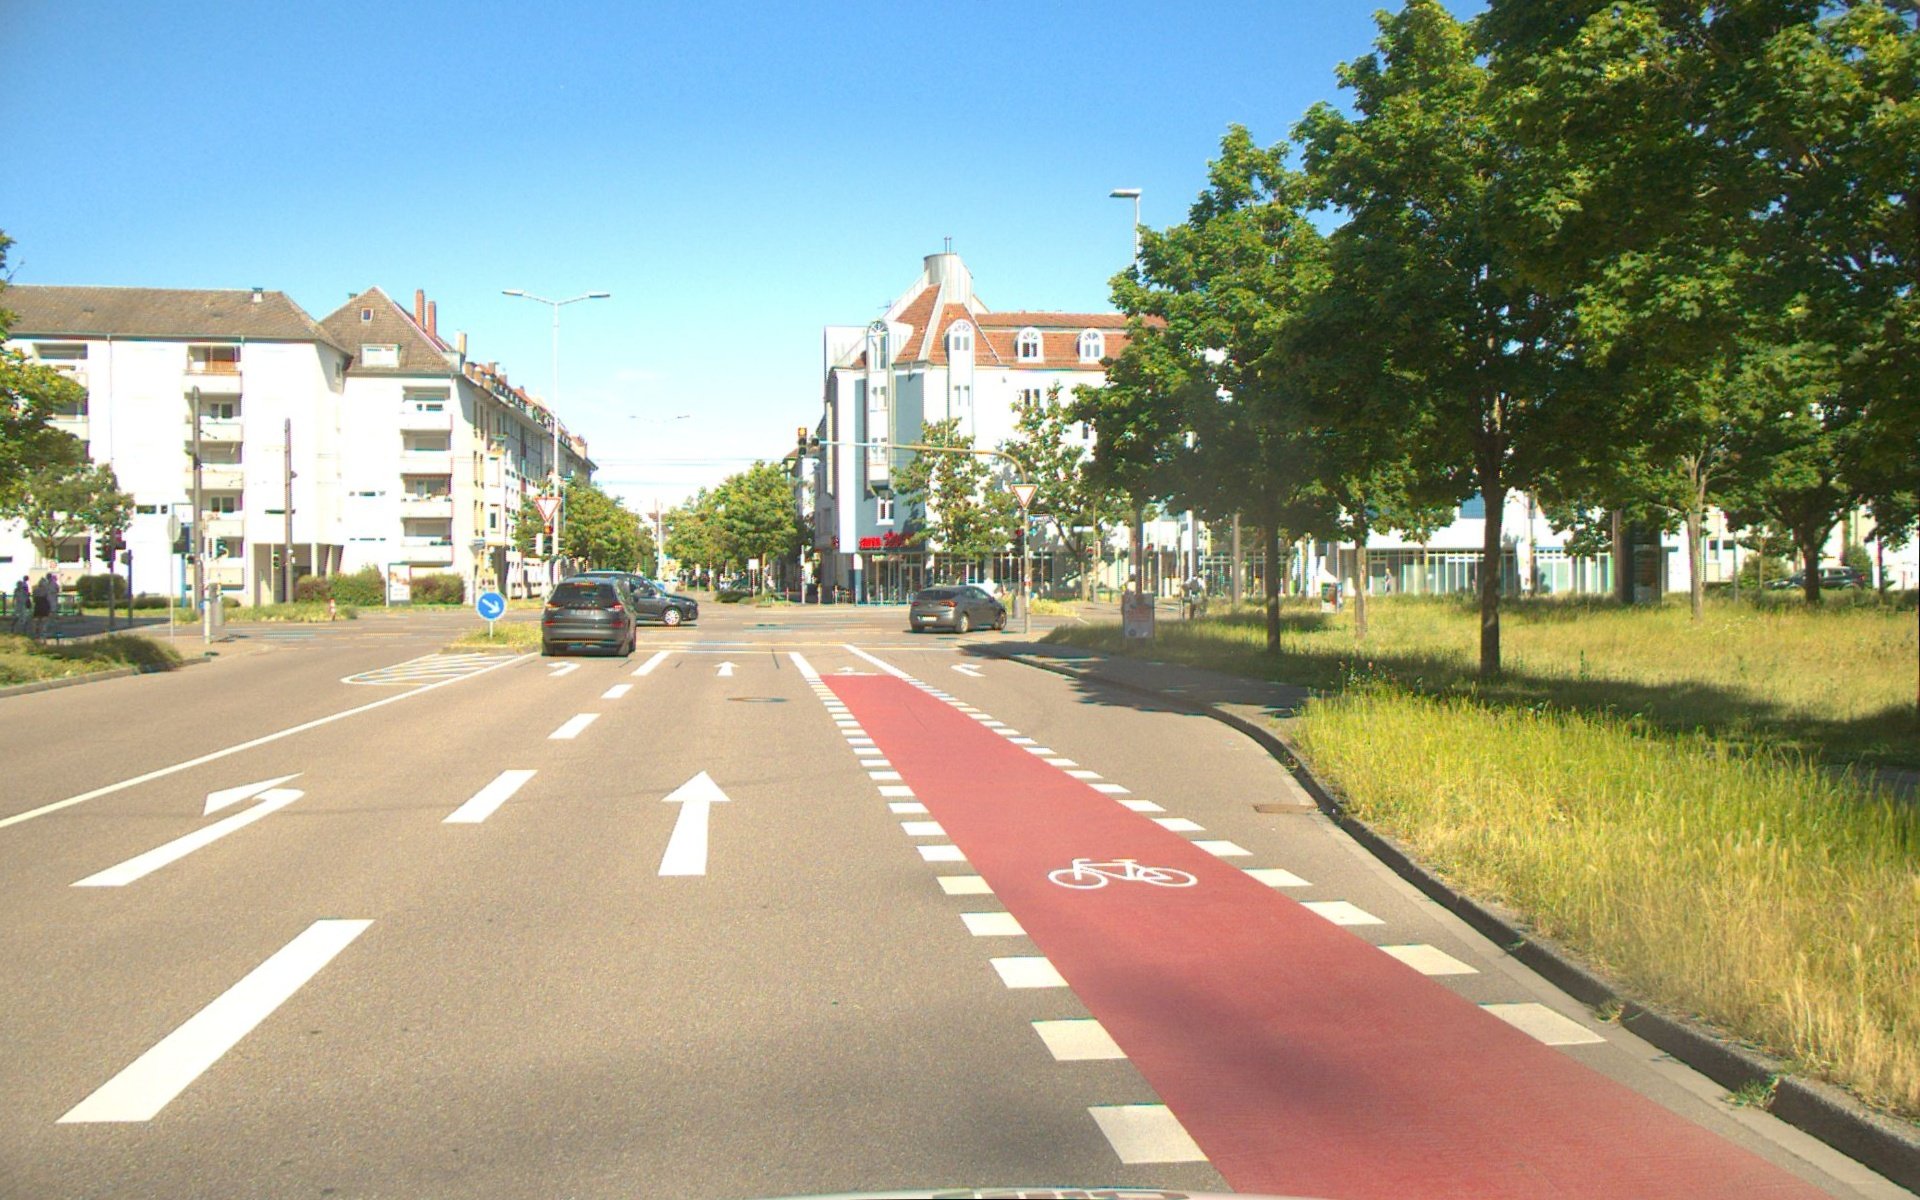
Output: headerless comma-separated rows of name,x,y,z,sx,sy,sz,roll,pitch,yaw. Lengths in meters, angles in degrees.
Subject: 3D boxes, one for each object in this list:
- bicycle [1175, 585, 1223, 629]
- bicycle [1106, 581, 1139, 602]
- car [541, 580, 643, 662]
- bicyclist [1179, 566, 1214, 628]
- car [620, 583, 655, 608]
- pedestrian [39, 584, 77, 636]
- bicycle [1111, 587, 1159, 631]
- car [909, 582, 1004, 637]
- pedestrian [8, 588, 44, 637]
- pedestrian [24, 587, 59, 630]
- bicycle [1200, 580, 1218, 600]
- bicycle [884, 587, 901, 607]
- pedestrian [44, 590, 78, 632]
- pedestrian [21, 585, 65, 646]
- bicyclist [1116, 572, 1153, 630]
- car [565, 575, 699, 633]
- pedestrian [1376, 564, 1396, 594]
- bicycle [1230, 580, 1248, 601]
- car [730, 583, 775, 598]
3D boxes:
bicycle,7.809,0.216,53.945,0.775,1.371,2.259,-1,1,29
bicycle,9.533,-0.486,97.127,1.831,1.203,0.560,-1,0,-13
car,-7.989,0.426,36.253,1.720,1.656,4.471,2,0,-7
bicyclist,7.677,-0.096,53.719,0.775,1.993,1.009,-1,0,30
car,-19.721,-0.283,101.265,1.655,1.457,4.394,2,0,-6
pedestrian,-32.392,0.349,59.418,0.905,1.801,1.150,-1,0,-13
bicycle,5.701,0.275,53.812,0.775,1.371,2.075,-1,1,29
car,-0.077,0.302,52.149,1.653,1.605,3.871,2,0,21
pedestrian,-33.917,0.450,60.066,0.796,1.756,1.150,-1,0,-13
pedestrian,-38.373,0.342,69.109,1.130,1.756,0.811,-1,1,34
bicycle,14.926,-0.586,99.160,0.550,1.203,1.866,-1,1,-9
bicycle,-3.617,-0.144,88.713,0.464,1.045,1.508,-1,1,-19
pedestrian,-37.935,0.451,69.809,1.130,1.756,0.811,-1,1,34
pedestrian,-26.978,0.448,48.664,0.796,1.756,1.150,-1,0,-13
bicyclist,5.677,0.030,53.753,0.775,1.856,1.133,-1,0,30
car,-11.303,0.137,57.111,4.403,1.832,1.760,2,0,-12
pedestrian,25.422,-1.254,98.629,0.971,1.753,0.653,-1,0,-9
bicycle,16.763,-0.580,99.254,0.549,1.203,1.867,-1,1,-6
car,-17.557,-0.834,140.140,3.515,1.245,1.721,0,-1,-20
